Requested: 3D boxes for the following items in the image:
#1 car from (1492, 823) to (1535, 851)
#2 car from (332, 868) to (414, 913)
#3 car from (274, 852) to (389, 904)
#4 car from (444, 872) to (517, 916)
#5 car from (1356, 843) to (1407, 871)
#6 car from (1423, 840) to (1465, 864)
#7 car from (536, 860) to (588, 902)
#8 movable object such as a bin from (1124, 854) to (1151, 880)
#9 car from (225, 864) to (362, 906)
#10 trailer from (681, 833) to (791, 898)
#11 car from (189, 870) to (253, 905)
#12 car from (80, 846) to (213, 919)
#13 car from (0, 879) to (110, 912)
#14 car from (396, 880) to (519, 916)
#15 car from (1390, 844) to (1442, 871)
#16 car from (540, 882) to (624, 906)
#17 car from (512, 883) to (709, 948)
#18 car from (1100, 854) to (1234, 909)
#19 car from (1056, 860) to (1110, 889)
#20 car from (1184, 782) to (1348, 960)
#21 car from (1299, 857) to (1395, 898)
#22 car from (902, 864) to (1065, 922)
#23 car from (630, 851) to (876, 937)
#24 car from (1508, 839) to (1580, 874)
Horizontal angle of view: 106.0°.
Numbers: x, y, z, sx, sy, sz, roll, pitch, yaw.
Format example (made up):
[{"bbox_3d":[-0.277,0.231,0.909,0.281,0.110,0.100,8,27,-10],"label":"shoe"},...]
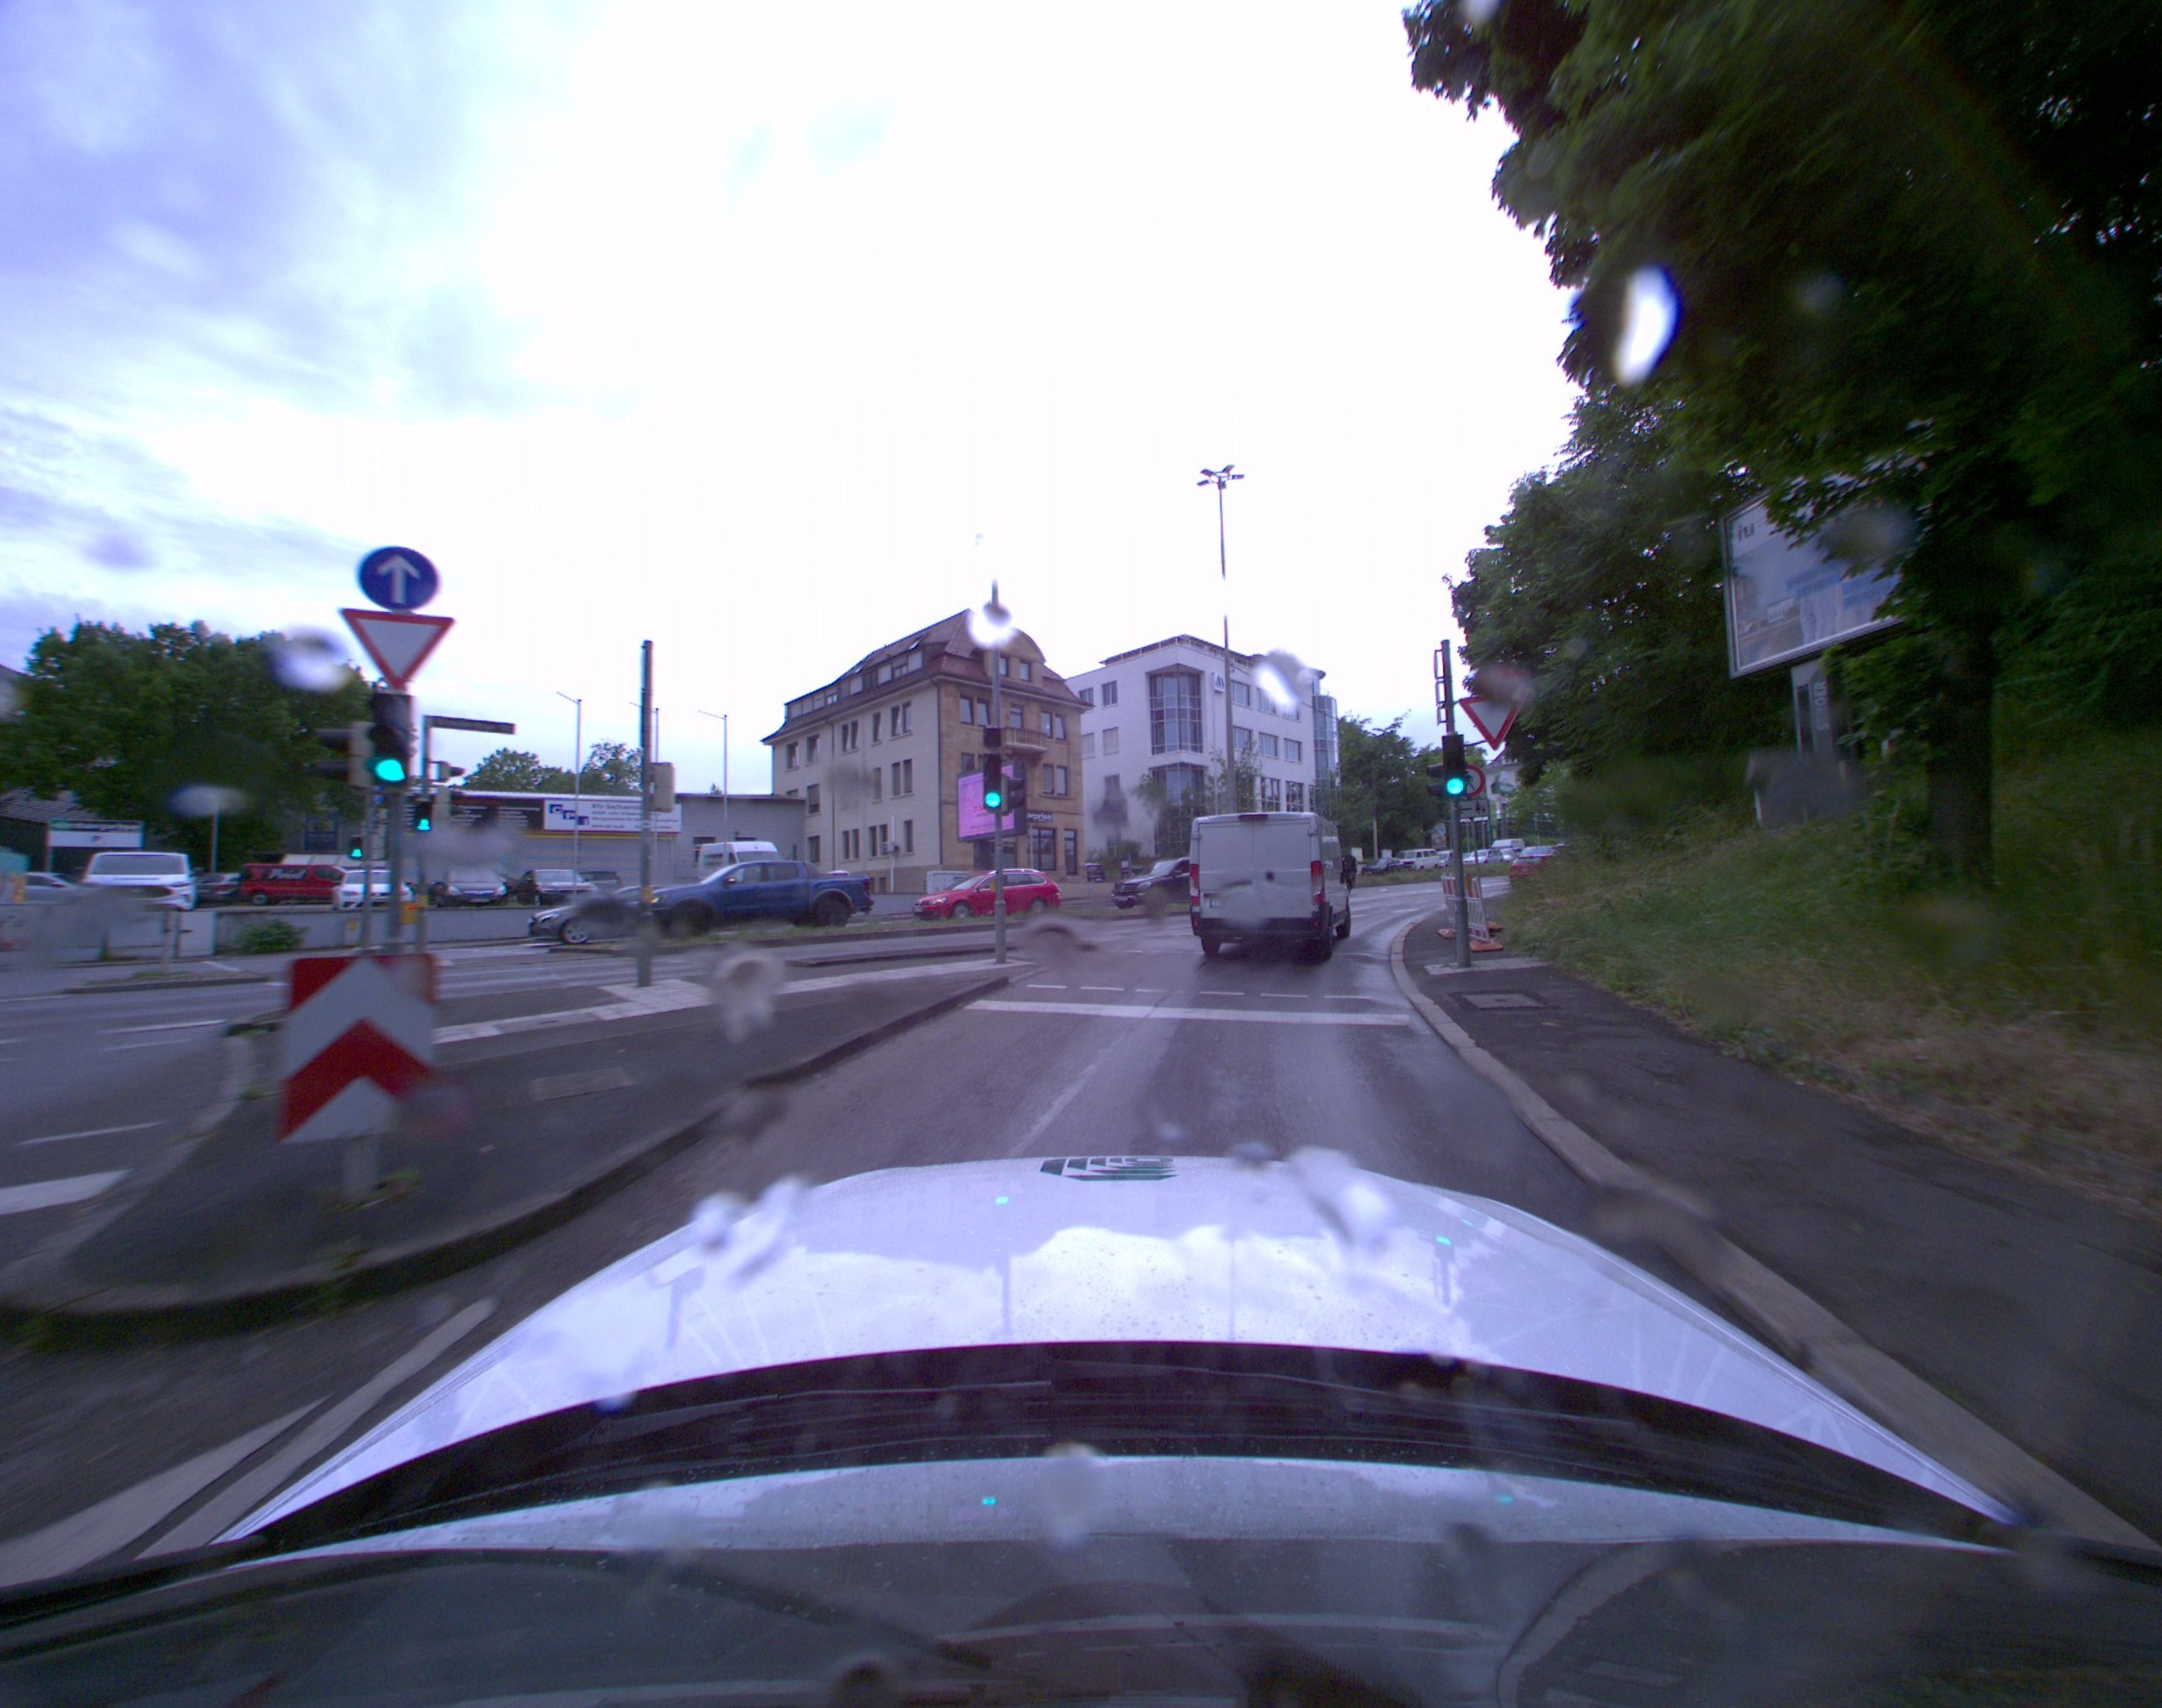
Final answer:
[{"bbox_3d":[41.261,-1.623,77.613,1.944,2.443,5.689,-6,-3,45],"label":"car"},{"bbox_3d":[-22.864,1.138,26.389,1.882,1.369,3.580,1,-2,-40],"label":"car"},{"bbox_3d":[-38.035,1.226,41.462,4.002,2.498,1.636,1,-5,-33],"label":"car"},{"bbox_3d":[-20.088,1.280,27.194,1.751,1.369,3.580,1,-2,-40],"label":"car"},{"bbox_3d":[21.196,0.192,57.358,4.016,1.722,1.596,-2,-3,-43],"label":"car"},{"bbox_3d":[29.265,-0.161,65.645,3.802,1.696,1.577,-2,-3,-43],"label":"car"},{"bbox_3d":[-18.421,0.931,28.873,1.234,1.424,2.655,1,-2,-40],"label":"car"},{"bbox_3d":[3.546,0.828,50.932,1.232,1.541,1.047,-4,-4,44],"label":"movable object such as a bin"},{"bbox_3d":[-36.865,1.469,38.291,4.327,1.861,1.722,1,-5,-34],"label":"car"},{"bbox_3d":[-15.414,0.639,36.121,2.408,2.429,7.034,2,-5,-41],"label":"trailer"},{"bbox_3d":[-41.483,1.641,39.354,1.522,1.568,3.446,1,-5,-37],"label":"car"},{"bbox_3d":[-26.519,0.898,23.257,5.303,1.802,2.233,-5,-5,42],"label":"car"},{"bbox_3d":[-36.376,1.466,28.648,1.182,1.105,2.737,-5,-5,45],"label":"car"},{"bbox_3d":[-28.921,2.033,37.920,4.353,1.407,1.360,-2,-3,-30],"label":"car"},{"bbox_3d":[25.350,0.234,61.617,4.609,1.746,1.754,-2,-3,-43],"label":"car"},{"bbox_3d":[-24.812,2.009,40.599,3.420,1.108,1.311,0,-4,-27],"label":"car"},{"bbox_3d":[-11.783,1.510,20.559,4.091,1.459,1.528,2,-5,-41],"label":"car"},{"bbox_3d":[3.095,0.958,28.735,4.649,1.697,1.938,-1,-3,-40],"label":"car"},{"bbox_3d":[0.092,1.295,50.642,1.725,1.676,3.014,2,-5,-44],"label":"car"},{"bbox_3d":[3.426,0.244,14.187,2.032,2.516,4.969,0,0,22],"label":"car"},{"bbox_3d":[11.498,1.022,35.053,4.752,1.605,1.673,2,-5,-41],"label":"car"},{"bbox_3d":[-2.780,1.124,23.776,4.464,1.531,1.790,2,-5,-41],"label":"car"},{"bbox_3d":[-7.856,0.922,19.855,5.196,1.819,1.917,-1,-4,-40],"label":"car"},{"bbox_3d":[20.418,0.144,35.895,3.385,1.426,1.679,1,-3,-40],"label":"car"}]
